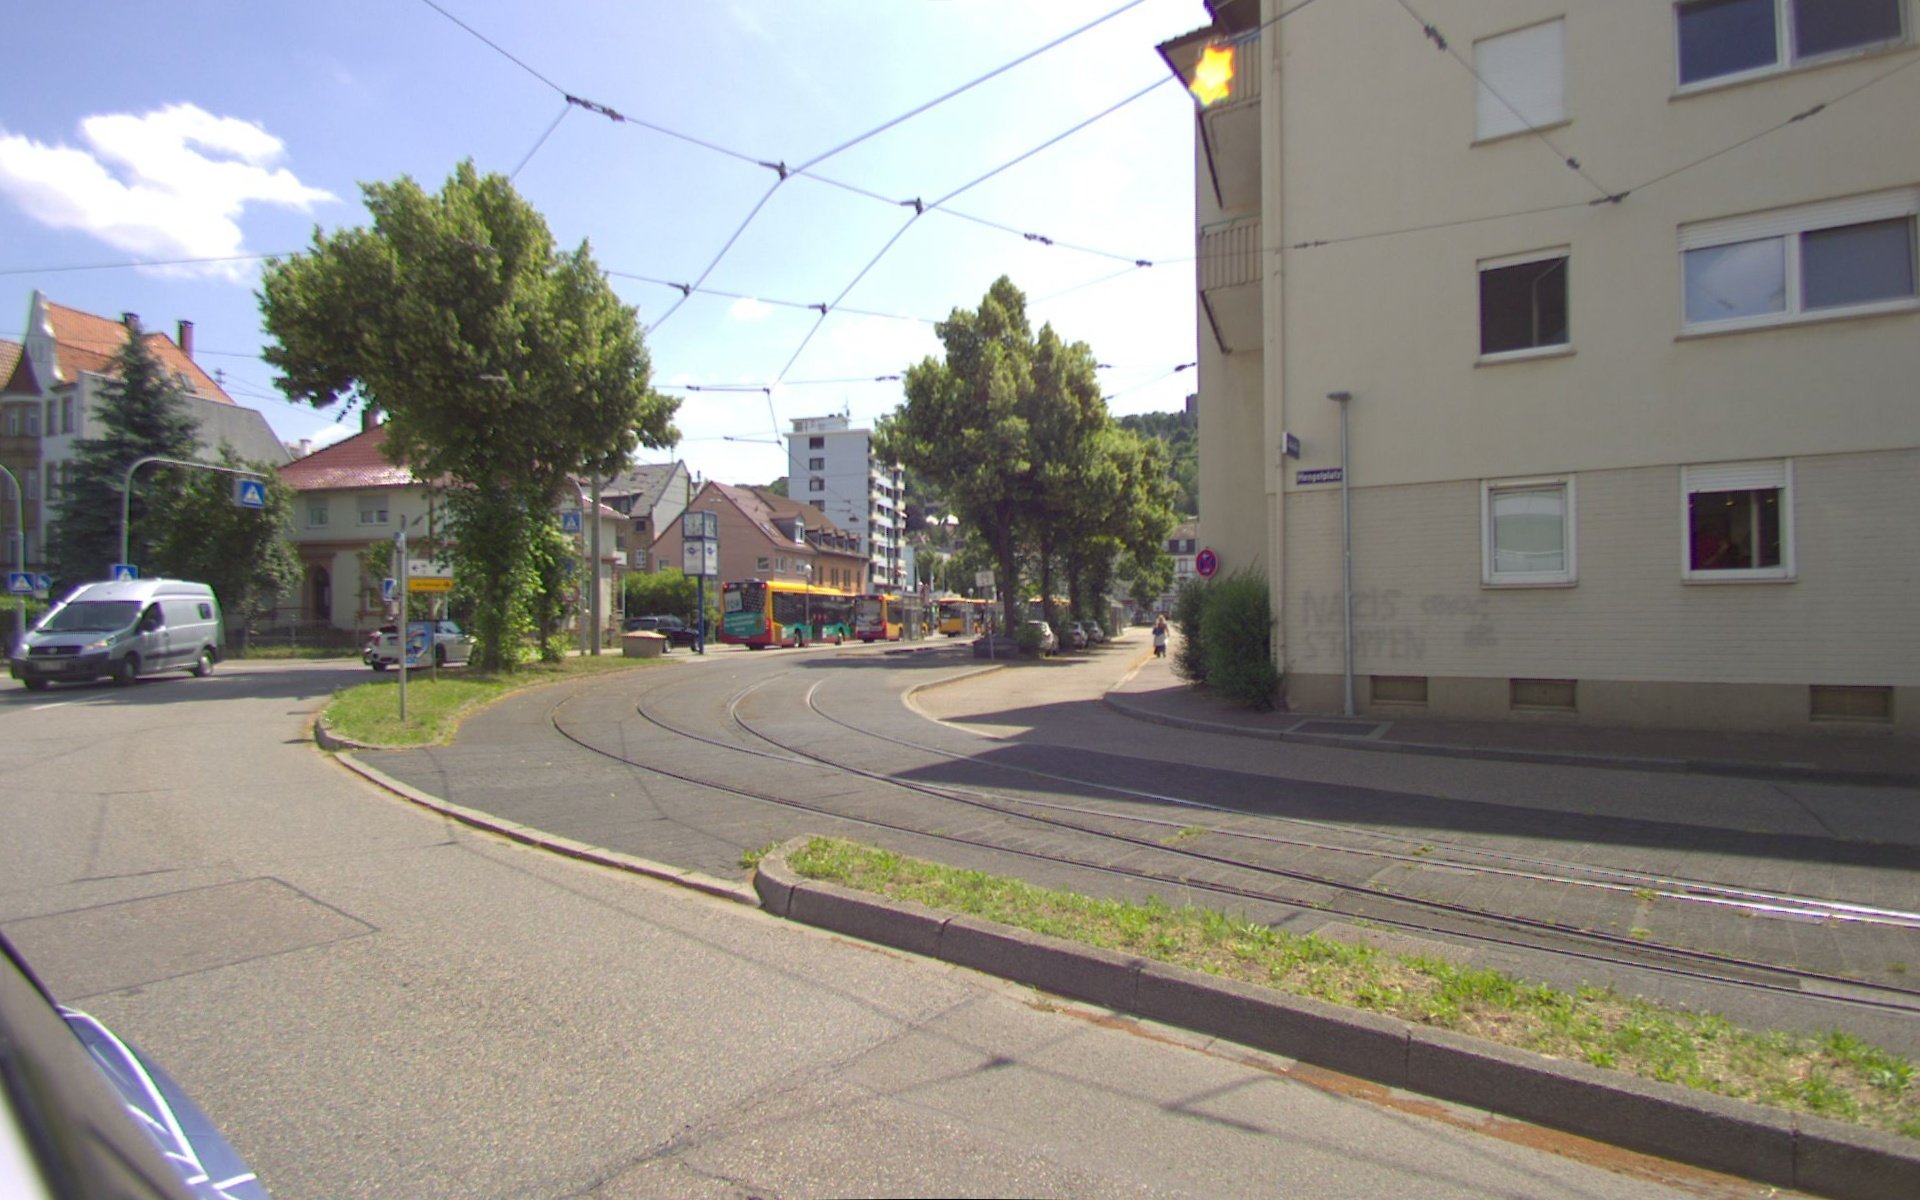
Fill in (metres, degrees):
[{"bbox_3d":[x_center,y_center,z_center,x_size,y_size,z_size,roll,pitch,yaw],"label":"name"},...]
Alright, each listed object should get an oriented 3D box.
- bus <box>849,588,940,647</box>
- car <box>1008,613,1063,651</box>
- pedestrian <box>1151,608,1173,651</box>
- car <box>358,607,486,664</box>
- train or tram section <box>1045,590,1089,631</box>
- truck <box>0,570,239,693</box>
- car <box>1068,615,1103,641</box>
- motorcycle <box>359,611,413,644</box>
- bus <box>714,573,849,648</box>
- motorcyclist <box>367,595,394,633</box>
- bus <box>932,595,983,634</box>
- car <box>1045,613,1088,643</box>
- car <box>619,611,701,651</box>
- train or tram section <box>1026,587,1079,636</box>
[{"bbox_3d":[-4.137,1.187,68.092,2.671,3.635,12.154,-1,-1,13],"label":"bus"},{"bbox_3d":[3.204,1.300,42.259,1.825,1.493,3.941,-1,-1,11],"label":"car"},{"bbox_3d":[7.470,1.090,37.462,0.769,1.571,0.741,-2,-1,11],"label":"pedestrian"},{"bbox_3d":[-14.951,0.962,28.354,1.753,1.475,3.749,-1,-1,-2],"label":"car"},{"bbox_3d":[10.189,0.963,94.995,2.868,3.547,13.854,-2,-1,11],"label":"train or tram section"},{"bbox_3d":[-18.013,0.580,21.761,1.988,2.266,5.420,-1,0,-11],"label":"truck"},{"bbox_3d":[7.735,1.688,62.120,1.825,1.493,3.859,-1,-1,11],"label":"car"},{"bbox_3d":[-18.803,0.895,33.178,0.665,1.066,1.424,-1,-1,24],"label":"motorcycle"},{"bbox_3d":[-8.561,0.600,50.499,2.681,3.322,10.814,-2,-2,13],"label":"bus"},{"bbox_3d":[-18.893,0.458,32.999,0.537,1.252,0.551,-1,-1,23],"label":"motorcyclist"},{"bbox_3d":[-0.094,1.309,89.378,2.549,3.213,10.118,-1,-1,11],"label":"bus"},{"bbox_3d":[5.610,1.450,52.951,1.825,1.493,4.242,-1,-1,11],"label":"car"},{"bbox_3d":[-13.189,1.354,44.757,1.841,1.644,4.316,-1,-2,9],"label":"car"},{"bbox_3d":[7.604,0.868,81.397,2.868,3.547,13.854,-2,-1,11],"label":"train or tram section"}]
